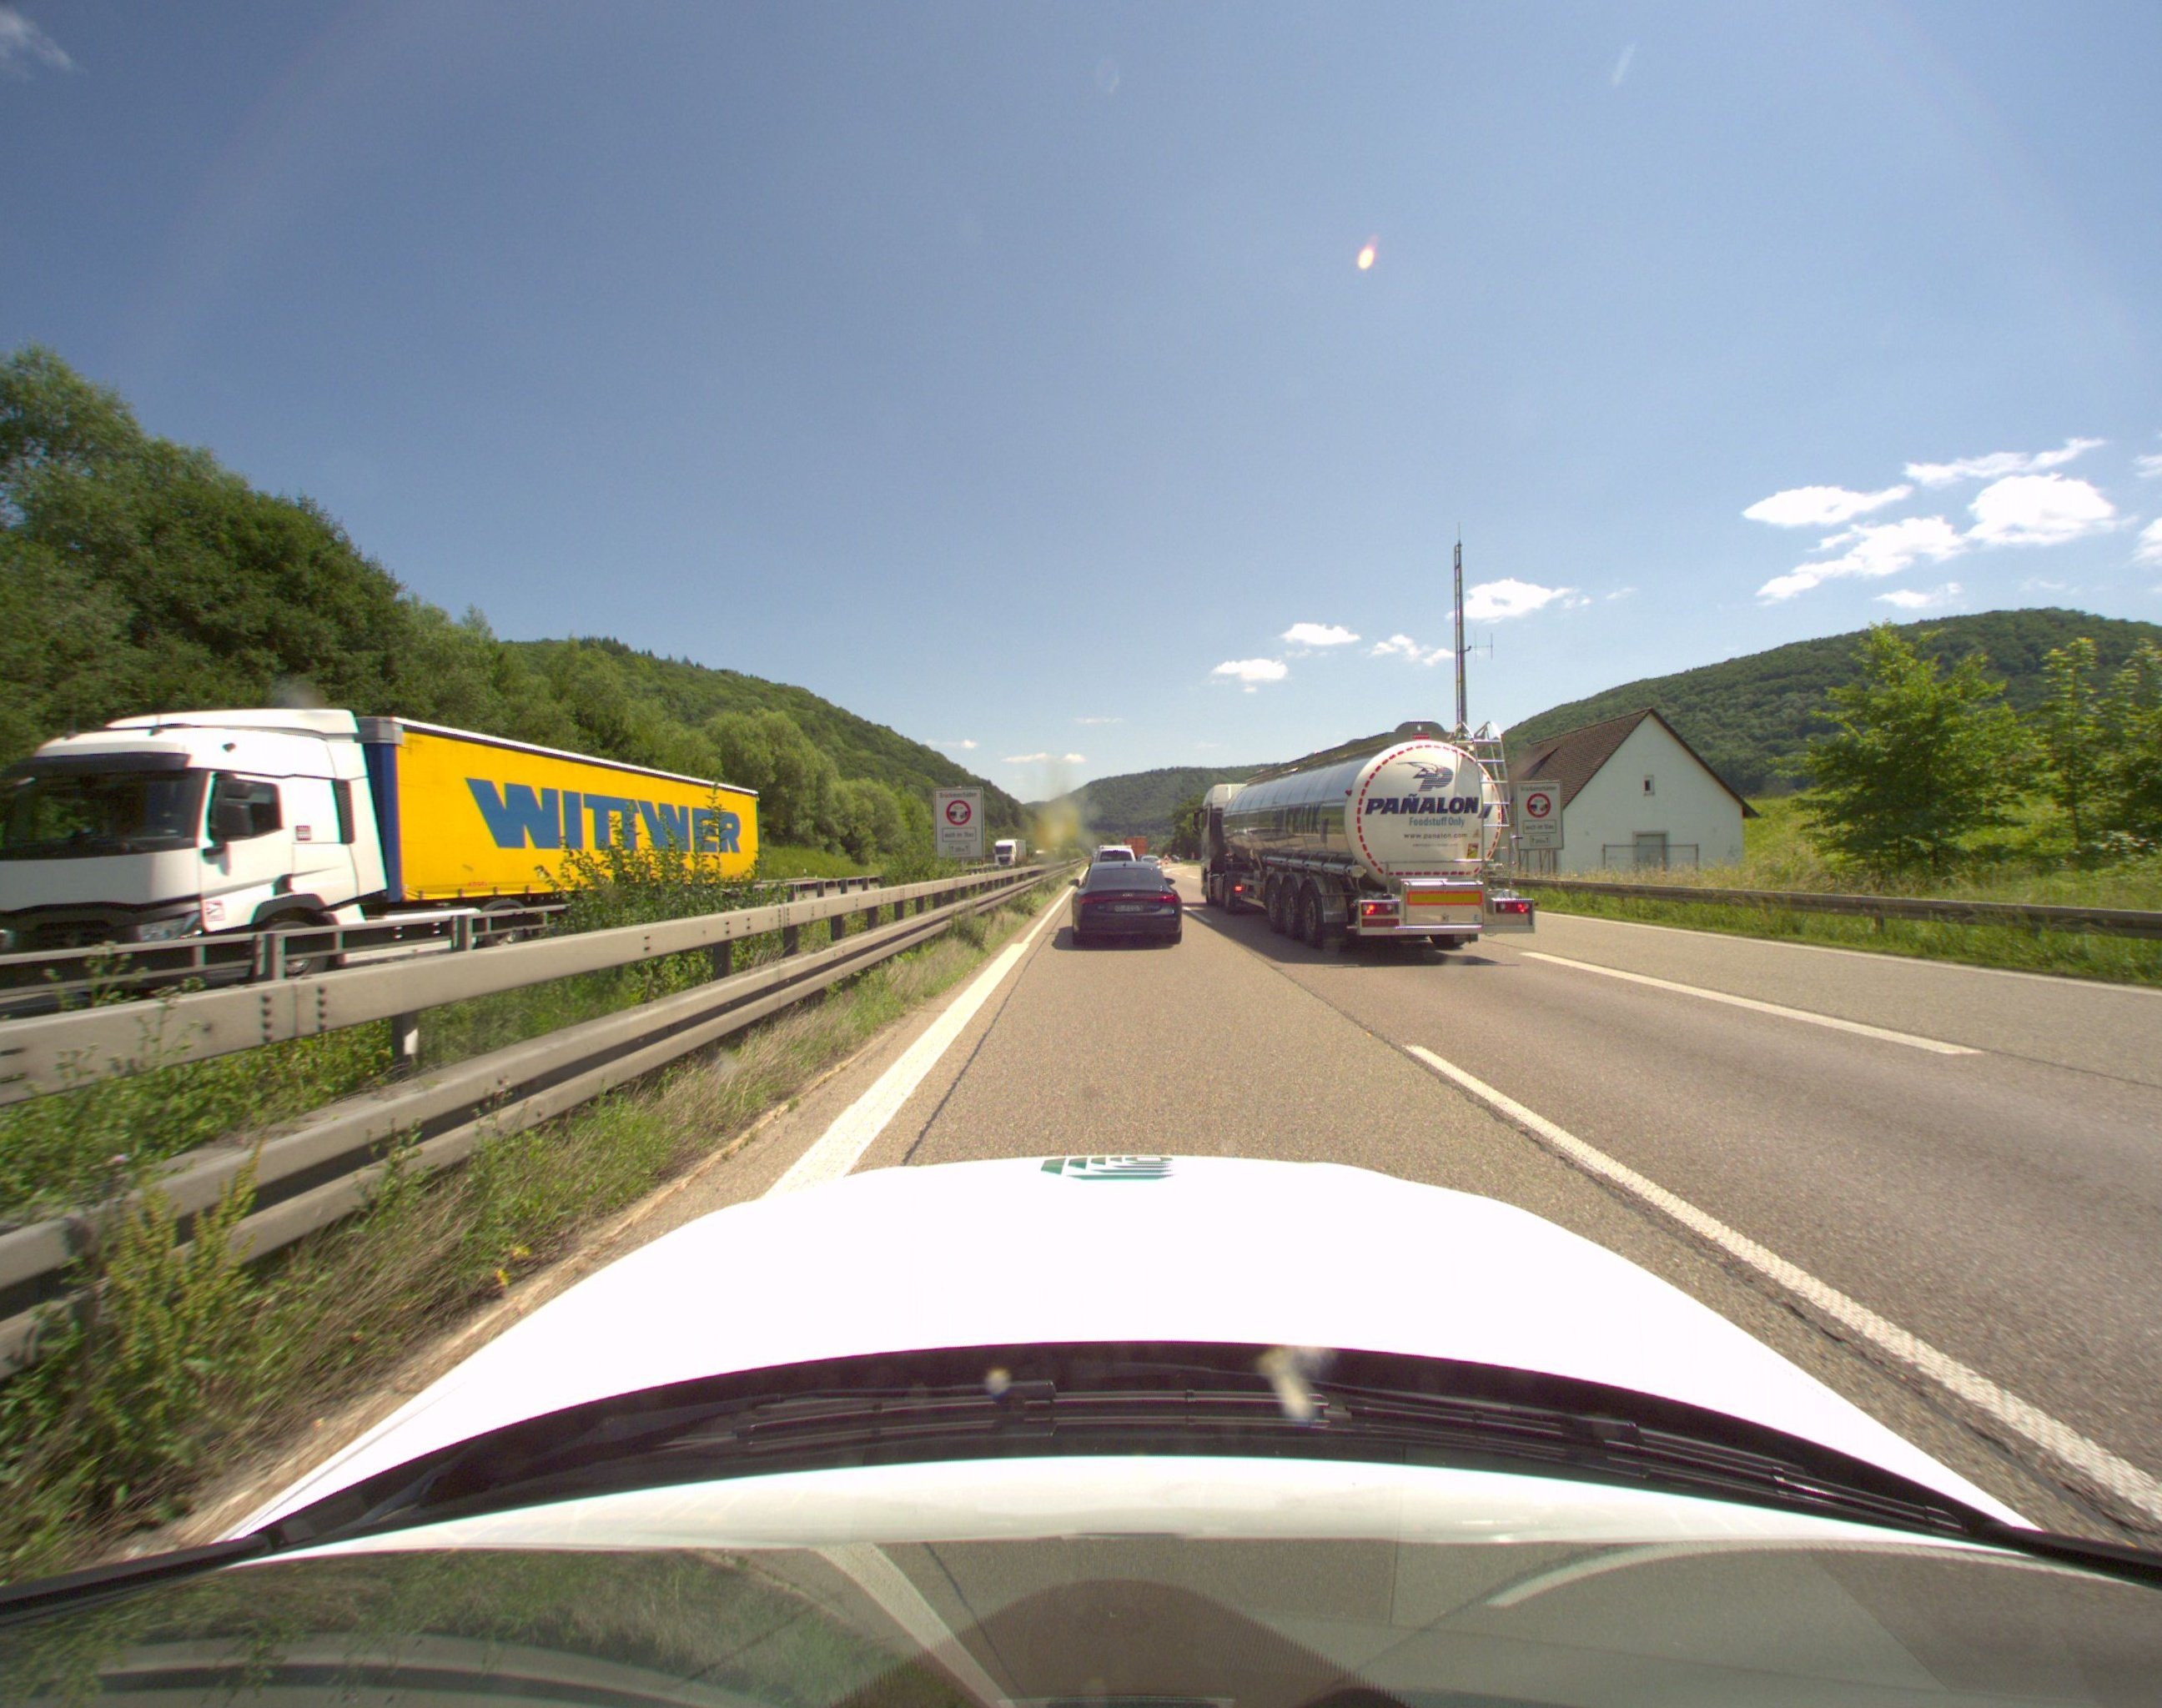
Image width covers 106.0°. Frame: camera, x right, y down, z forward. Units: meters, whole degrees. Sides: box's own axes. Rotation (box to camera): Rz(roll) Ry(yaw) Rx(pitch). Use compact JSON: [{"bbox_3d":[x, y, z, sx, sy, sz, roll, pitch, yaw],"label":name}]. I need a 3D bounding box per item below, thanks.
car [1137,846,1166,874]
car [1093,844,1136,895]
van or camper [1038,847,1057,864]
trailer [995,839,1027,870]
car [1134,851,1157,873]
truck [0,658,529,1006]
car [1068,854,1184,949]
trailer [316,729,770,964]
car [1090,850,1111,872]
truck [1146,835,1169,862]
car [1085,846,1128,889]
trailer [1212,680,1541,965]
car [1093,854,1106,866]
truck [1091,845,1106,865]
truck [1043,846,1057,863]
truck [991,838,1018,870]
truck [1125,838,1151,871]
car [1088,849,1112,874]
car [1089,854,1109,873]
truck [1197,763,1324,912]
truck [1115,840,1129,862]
[{"bbox_3d":[5.425,0.458,63.257,1.986,2.013,4.001,-1,0,1],"label":"car"},{"bbox_3d":[1.259,0.566,31.567,1.570,1.833,4.001,-1,0,1],"label":"car"},{"bbox_3d":[-6.910,0.243,167.779,2.576,3.335,7.663,-2,0,7],"label":"van or camper"},{"bbox_3d":[-9.688,0.089,114.082,2.772,3.999,14.164,-1,0,2],"label":"trailer"},{"bbox_3d":[6.077,0.720,77.386,1.986,2.002,4.002,-2,0,2],"label":"car"},{"bbox_3d":[-11.935,-0.250,12.626,2.538,4.090,5.852,-1,0,2],"label":"truck"},{"bbox_3d":[0.701,0.757,15.031,1.844,1.488,4.081,-1,0,-1],"label":"car"},{"bbox_3d":[-11.677,-0.115,20.300,2.571,4.005,12.606,-1,0,2],"label":"trailer"},{"bbox_3d":[1.893,0.659,78.957,1.987,2.013,4.000,-2,0,1],"label":"car"},{"bbox_3d":[11.833,-0.806,127.141,2.806,4.003,14.962,-1,0,2],"label":"truck"},{"bbox_3d":[1.245,0.633,40.557,1.986,2.013,4.001,-1,0,1],"label":"car"},{"bbox_3d":[4.853,-0.402,16.677,2.529,3.735,11.892,-1,0,1],"label":"trailer"},{"bbox_3d":[2.693,0.803,114.818,1.705,1.618,4.002,-2,0,2],"label":"car"},{"bbox_3d":[3.222,0.192,149.099,2.618,3.440,11.425,-2,0,2],"label":"truck"},{"bbox_3d":[-7.507,0.021,198.237,2.859,4.006,10.172,-1,0,1],"label":"truck"},{"bbox_3d":[-9.920,0.019,106.389,2.718,4.001,5.371,-1,0,1],"label":"truck"},{"bbox_3d":[7.239,0.067,105.389,2.806,4.003,14.962,-1,0,2],"label":"truck"},{"bbox_3d":[1.587,0.640,68.605,1.987,2.013,4.000,-2,0,1],"label":"car"},{"bbox_3d":[1.686,0.865,75.134,1.705,1.618,4.002,-2,0,2],"label":"car"},{"bbox_3d":[4.926,-0.416,23.313,2.503,3.758,5.246,-1,0,1],"label":"truck"},{"bbox_3d":[6.781,-0.437,135.491,1.986,3.447,11.815,-1,0,2],"label":"truck"}]
